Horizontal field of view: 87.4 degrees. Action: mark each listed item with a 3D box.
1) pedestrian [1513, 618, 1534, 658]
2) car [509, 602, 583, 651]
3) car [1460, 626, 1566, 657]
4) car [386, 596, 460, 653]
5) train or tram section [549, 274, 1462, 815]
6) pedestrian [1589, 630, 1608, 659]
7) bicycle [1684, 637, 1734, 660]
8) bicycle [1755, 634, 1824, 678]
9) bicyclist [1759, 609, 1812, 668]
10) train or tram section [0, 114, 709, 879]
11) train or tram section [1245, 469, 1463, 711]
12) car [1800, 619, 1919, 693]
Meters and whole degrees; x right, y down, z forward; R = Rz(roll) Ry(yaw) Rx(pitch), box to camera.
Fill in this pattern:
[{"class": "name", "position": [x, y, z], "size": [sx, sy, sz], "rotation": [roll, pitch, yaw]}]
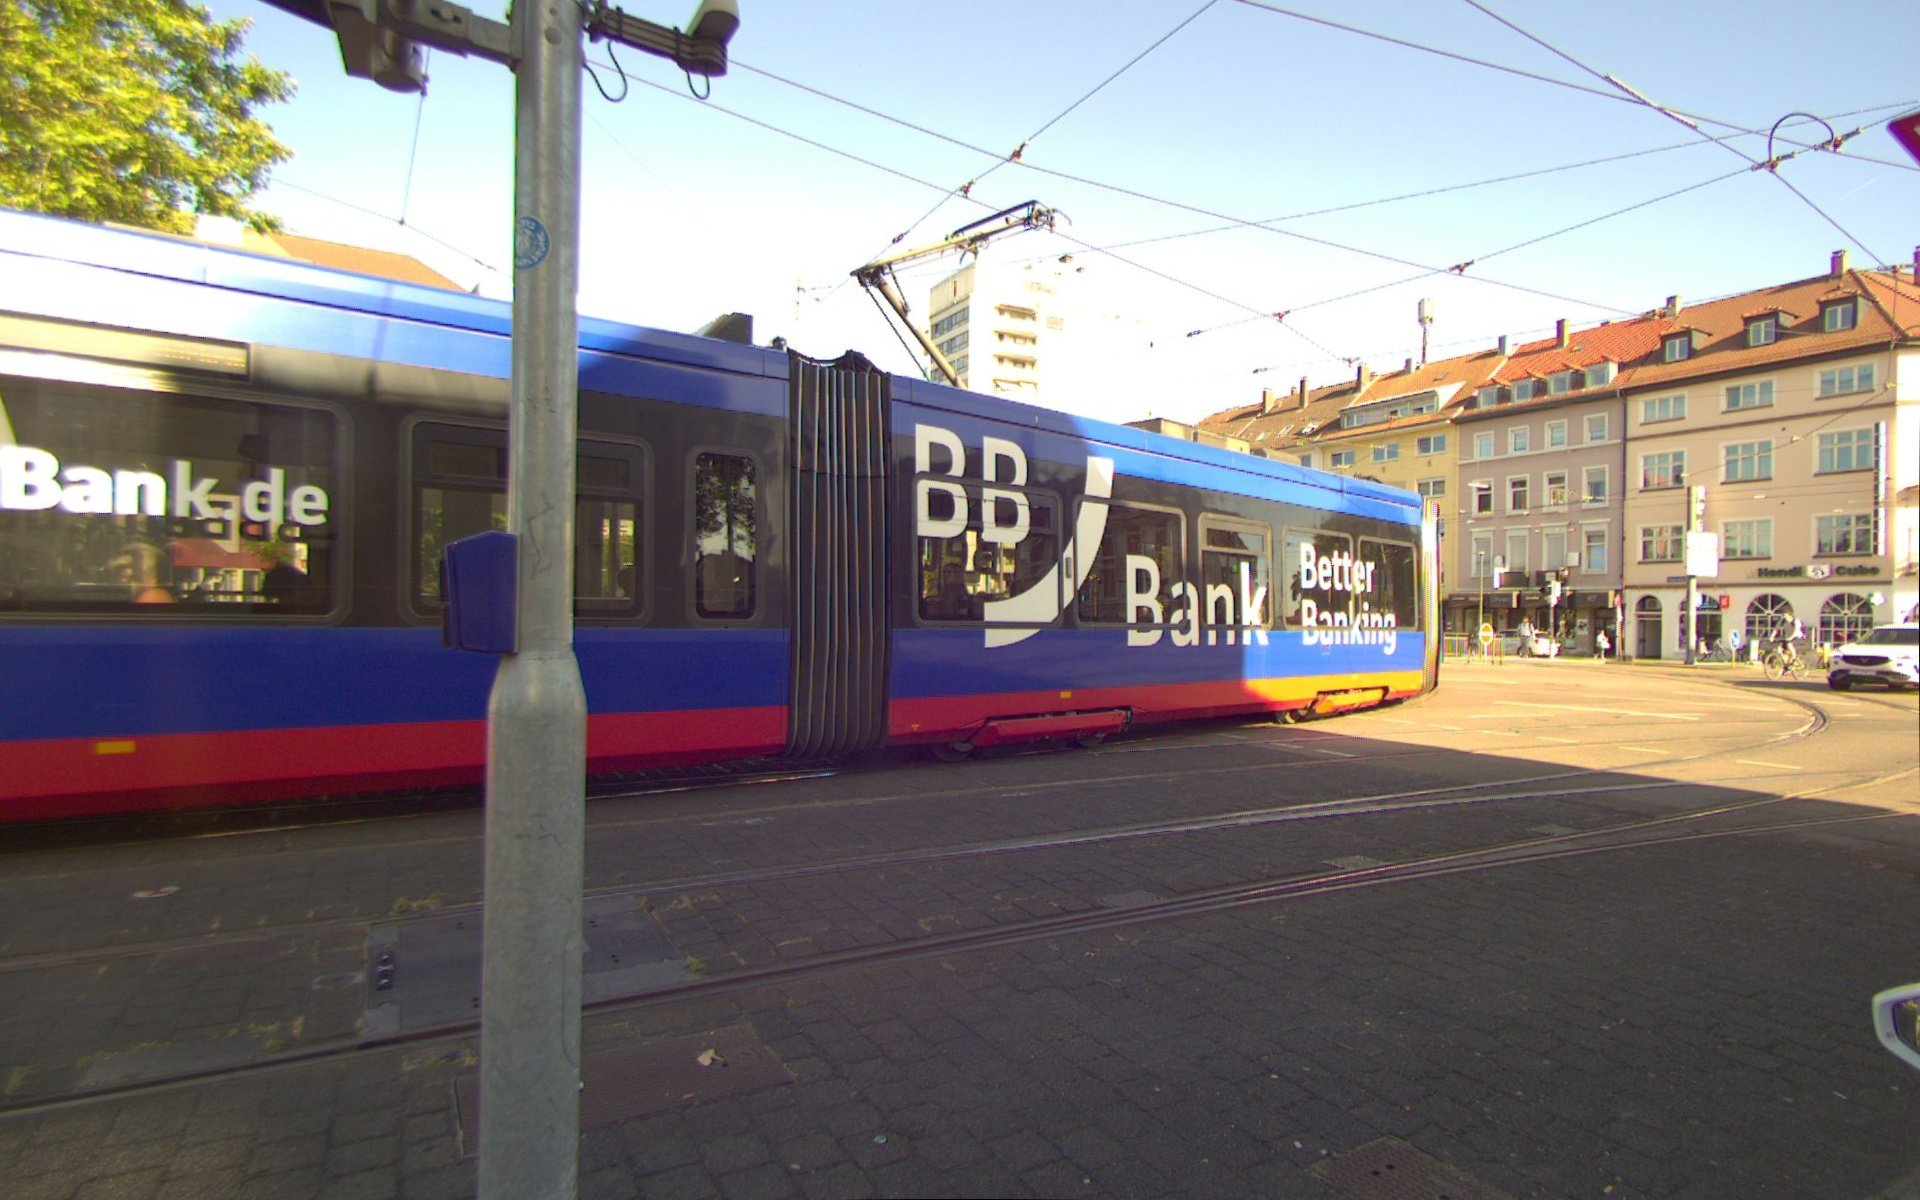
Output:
[{"class": "pedestrian", "position": [23.983, 1.608, 42.764], "size": [0.714, 1.648, 0.671], "rotation": [0, -1, 26]}, {"class": "car", "position": [-13.638, 0.850, 32.964], "size": [1.697, 1.506, 4.186], "rotation": [1, -1, -30]}, {"class": "car", "position": [27.422, 2.030, 49.937], "size": [1.978, 1.373, 4.185], "rotation": [1, -1, -32]}, {"class": "car", "position": [-15.336, 0.671, 28.596], "size": [1.697, 1.506, 4.186], "rotation": [1, -1, -30]}, {"class": "train or tram section", "position": [1.914, -0.235, 12.081], "size": [12.408, 3.661, 3.028], "rotation": [2, -1, -42]}, {"class": "pedestrian", "position": [34.477, 2.416, 54.241], "size": [0.688, 1.544, 0.653], "rotation": [1, -1, -36]}, {"class": "bicycle", "position": [37.572, 2.402, 50.408], "size": [0.578, 1.081, 1.929], "rotation": [1, -1, -36]}, {"class": "bicycle", "position": [22.548, 1.520, 27.290], "size": [2.025, 1.181, 0.484], "rotation": [1, -1, -20]}, {"class": "bicyclist", "position": [22.453, 1.048, 27.328], "size": [0.972, 1.580, 0.713], "rotation": [1, -1, -21]}, {"class": "train or tram section", "position": [-7.491, -0.541, 4.633], "size": [11.991, 3.661, 3.036], "rotation": [2, -1, -35]}, {"class": "train or tram section", "position": [8.854, -0.025, 21.276], "size": [3.009, 3.661, 12.099], "rotation": [0, -1, 27]}, {"class": "car", "position": [21.274, 1.221, 22.742], "size": [4.292, 1.517, 1.986], "rotation": [1, -1, -28]}]
